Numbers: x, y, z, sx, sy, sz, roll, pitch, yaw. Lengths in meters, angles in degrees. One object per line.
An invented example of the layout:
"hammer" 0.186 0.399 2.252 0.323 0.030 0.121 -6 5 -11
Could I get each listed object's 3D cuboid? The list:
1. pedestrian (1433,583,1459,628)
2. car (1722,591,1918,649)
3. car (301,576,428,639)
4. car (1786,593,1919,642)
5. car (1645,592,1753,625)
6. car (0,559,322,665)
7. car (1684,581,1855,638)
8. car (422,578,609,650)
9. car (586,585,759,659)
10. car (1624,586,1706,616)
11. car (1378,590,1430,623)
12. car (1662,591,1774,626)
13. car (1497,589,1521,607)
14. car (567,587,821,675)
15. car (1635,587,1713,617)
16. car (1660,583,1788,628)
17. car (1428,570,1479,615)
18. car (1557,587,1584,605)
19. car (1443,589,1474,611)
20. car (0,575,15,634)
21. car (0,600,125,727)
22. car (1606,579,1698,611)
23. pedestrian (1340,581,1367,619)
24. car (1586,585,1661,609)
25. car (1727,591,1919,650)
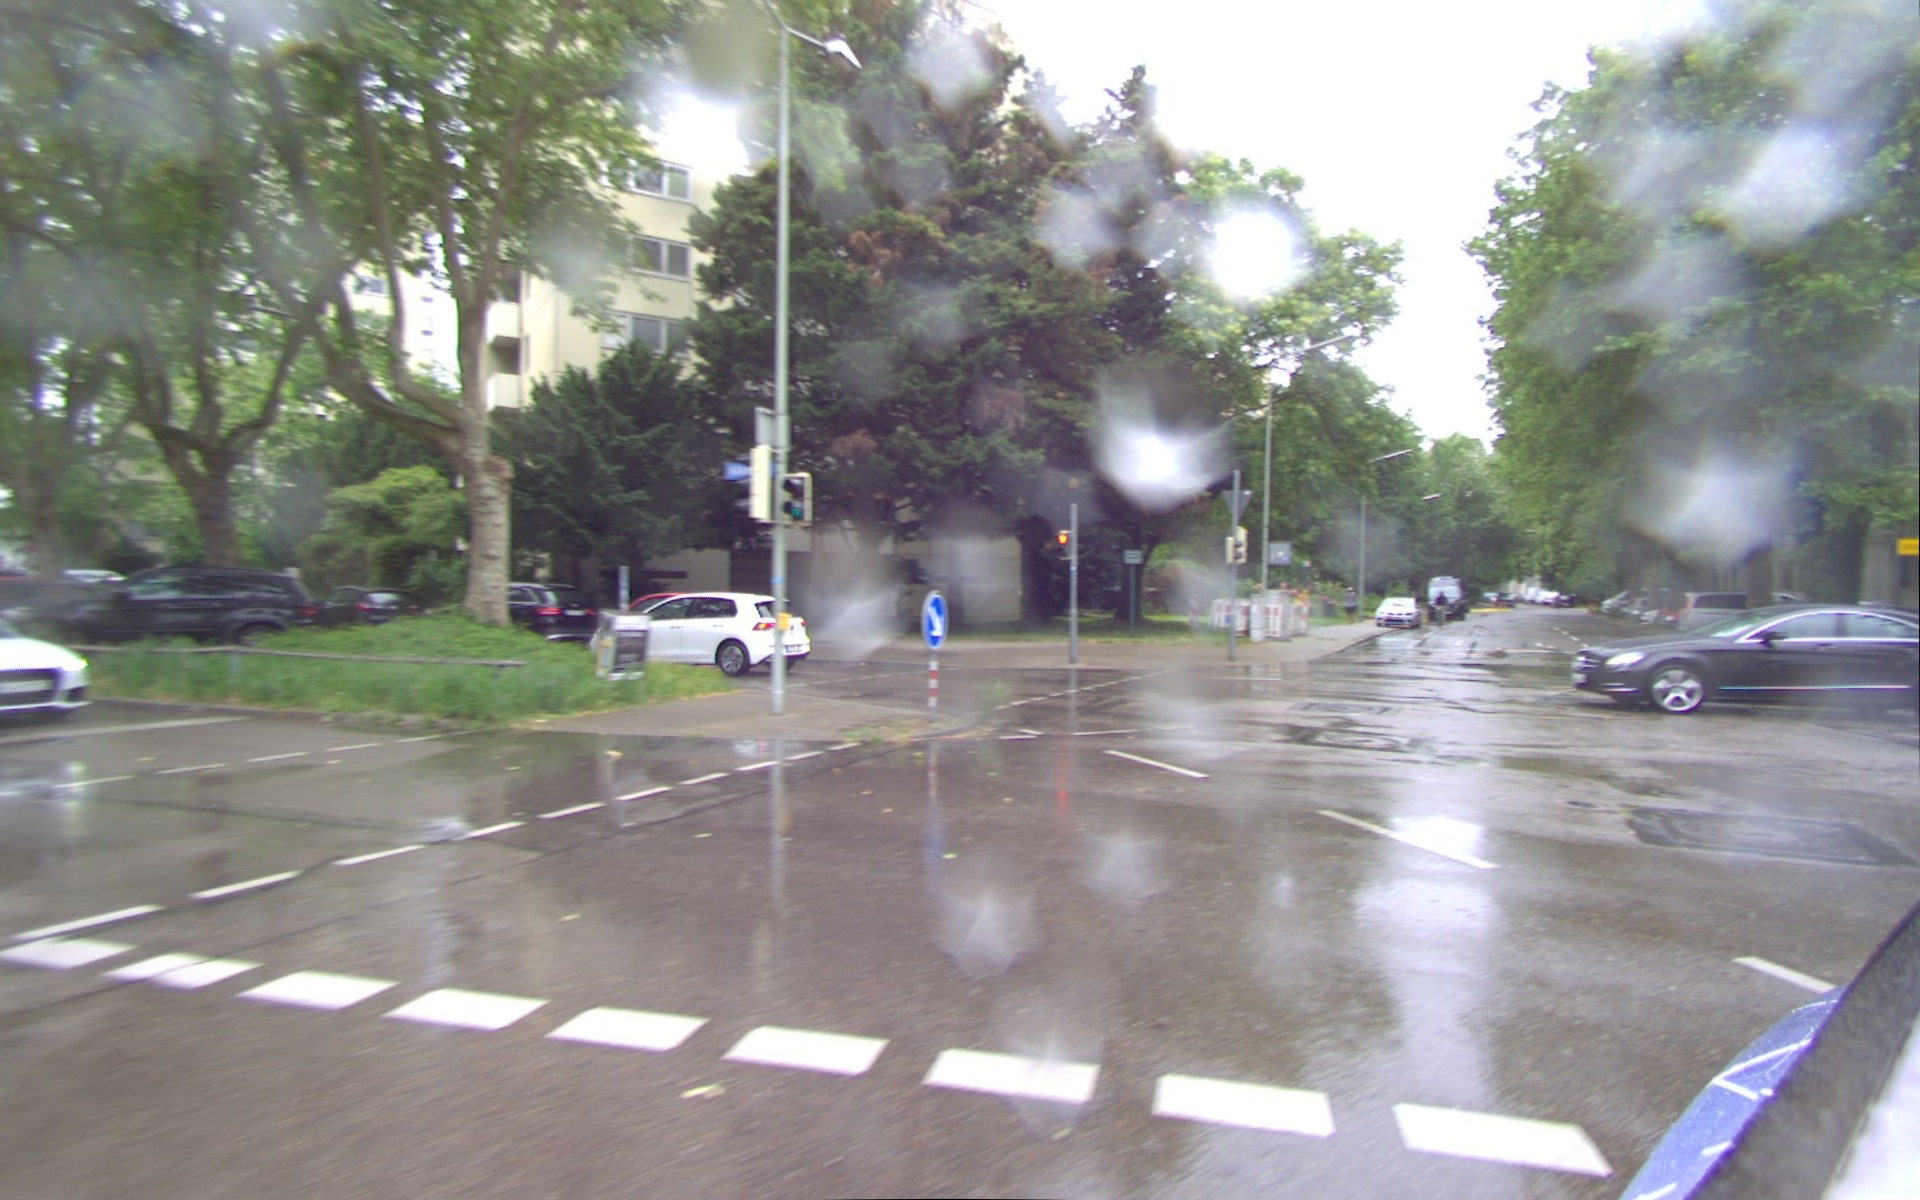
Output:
"pedestrian" 22.944 0.259 47.785 0.937 2.088 1.068 2 1 33
"car" 28.622 0.620 33.918 4.633 1.711 2.012 2 1 30
"car" -16.335 0.174 27.724 3.465 1.616 1.817 1 1 36
"car" 26.511 0.483 29.086 3.959 1.371 1.781 0 0 26
"car" 39.950 0.427 54.863 4.492 1.590 2.012 2 1 30
"car" -14.184 0.176 18.109 4.519 1.685 1.873 0 1 -38
"car" 29.923 0.314 37.617 4.633 1.897 2.012 2 1 30
"car" -10.953 0.283 24.888 4.413 1.628 1.922 1 1 28
"car" -6.445 0.439 22.706 3.425 1.544 1.826 1 1 25
"car" 44.813 0.050 64.400 4.077 1.711 1.809 2 1 30
"car" 21.216 0.267 48.293 1.807 1.478 4.226 1 1 30
"car" 39.186 0.424 52.482 4.374 1.605 1.907 2 1 30
"car" 59.913 -0.240 110.442 1.979 1.829 4.313 1 1 25
"car" -4.899 0.504 18.648 4.345 1.451 1.771 1 1 21
"car" 43.828 0.096 62.231 3.691 1.711 1.917 2 1 30
"car" 35.611 0.224 47.331 4.402 1.923 2.014 2 1 28
"car" 30.024 -0.465 61.501 2.383 2.506 5.632 2 1 30
"car" 65.250 -0.457 108.153 1.979 1.829 3.967 1 1 24
"car" 37.617 -0.016 76.352 1.982 1.558 3.960 1 1 28
"car" -25.873 0.101 24.792 1.877 1.440 3.787 2 1 40
"car" -11.887 0.659 11.449 4.117 1.291 1.892 0 1 18
"car" 47.957 -0.343 70.270 5.047 2.049 2.012 2 1 30
"pedestrian" 18.079 0.002 46.507 0.937 1.681 0.918 2 1 33
"car" 50.953 -0.242 77.806 4.633 1.624 2.012 2 1 30
"car" 27.283 0.601 31.840 4.696 1.642 1.912 2 1 28
